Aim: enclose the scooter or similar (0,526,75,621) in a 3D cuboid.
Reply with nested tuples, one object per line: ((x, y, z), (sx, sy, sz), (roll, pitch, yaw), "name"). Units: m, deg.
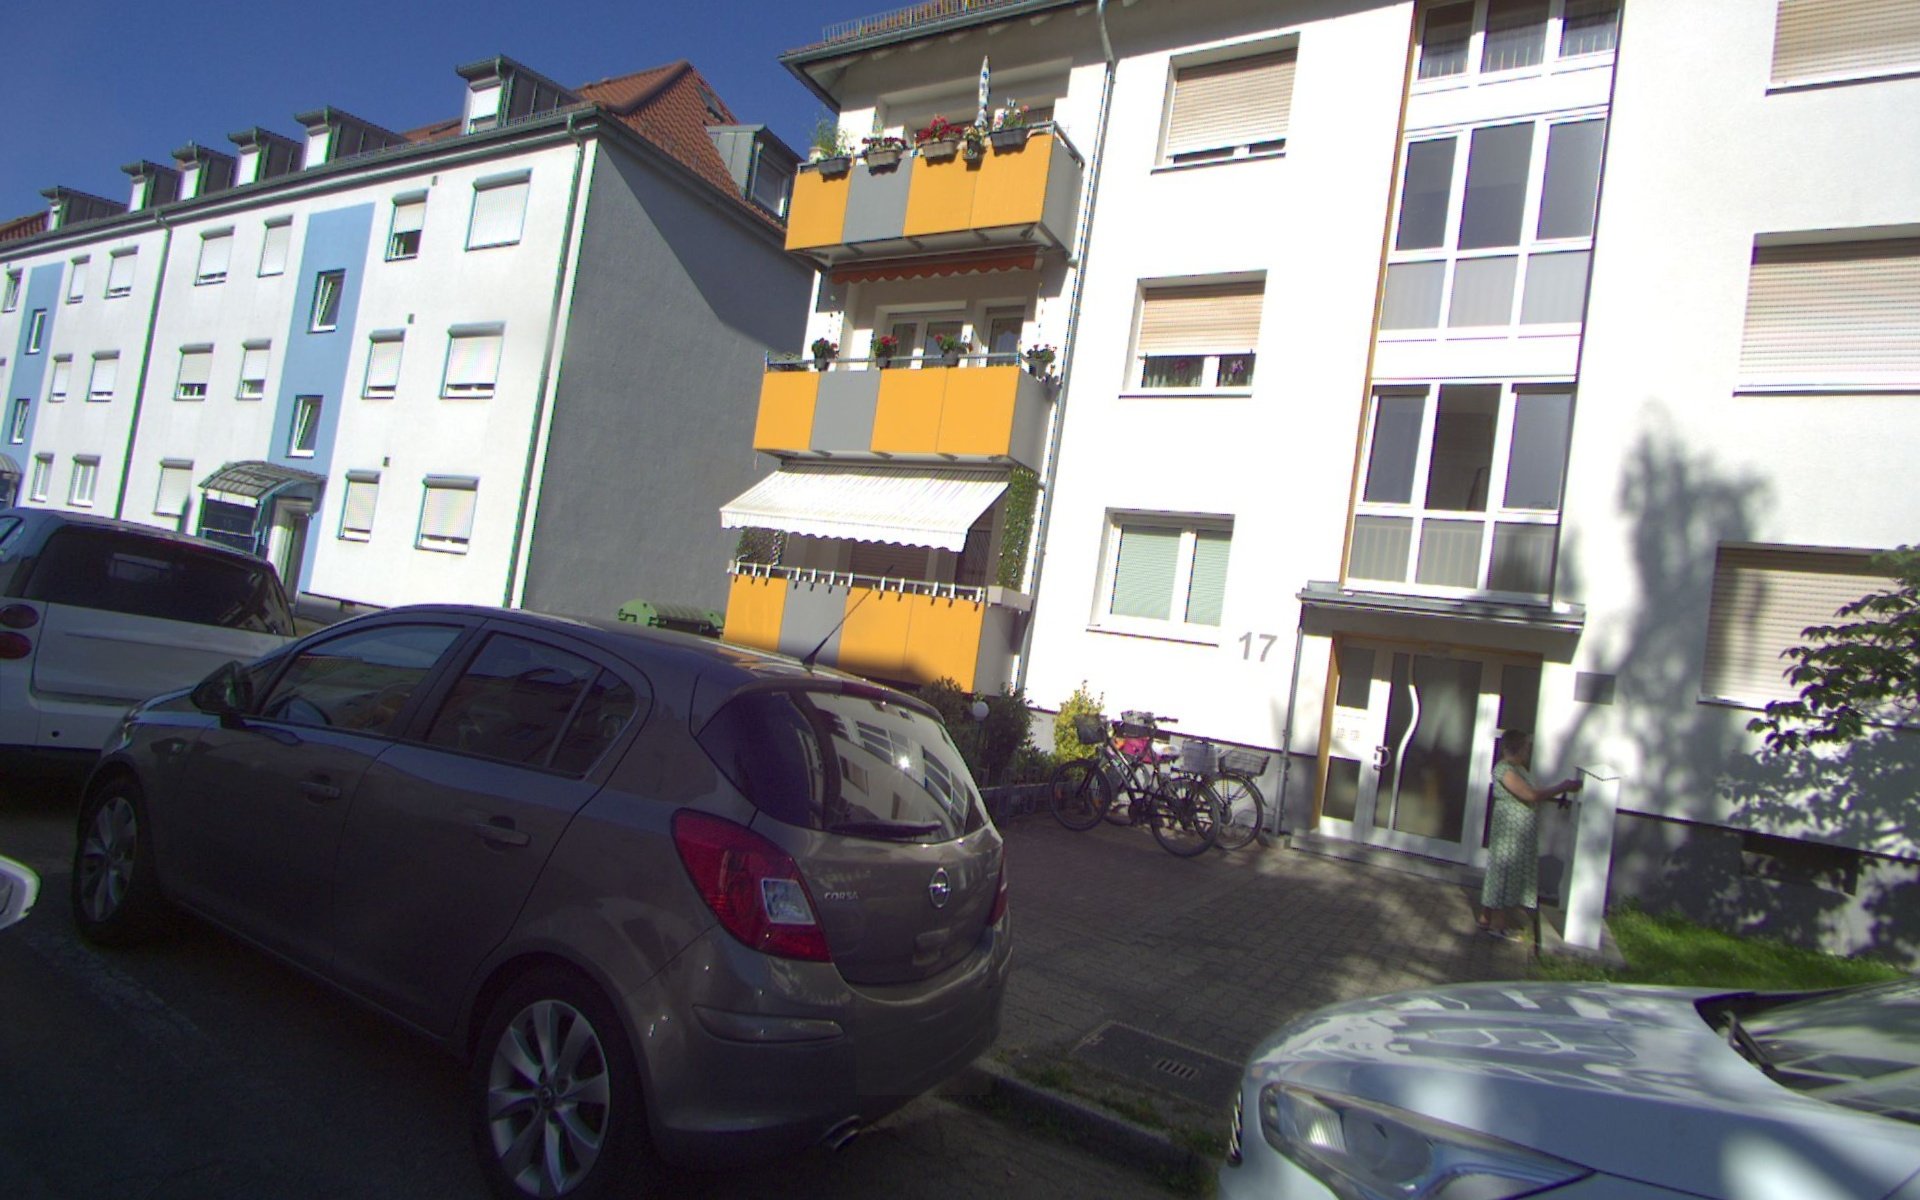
((-12.993, -0.384, 14.021), (1.562, 1.163, 0.484), (7, 1, 32), "scooter or similar")

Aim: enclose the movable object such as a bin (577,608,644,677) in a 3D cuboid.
((-5.858, 0.712, 16.852), (0.745, 1.046, 0.644), (5, -2, 32), "movable object such as a bin")

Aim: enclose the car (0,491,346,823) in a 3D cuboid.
((-5.308, 0.248, 6.090), (2.894, 1.544, 1.484), (7, -5, 35), "car")

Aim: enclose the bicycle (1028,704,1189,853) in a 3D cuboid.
((1.349, 1.602, 9.231), (1.278, 1.099, 0.404), (7, -1, 32), "bicycle")

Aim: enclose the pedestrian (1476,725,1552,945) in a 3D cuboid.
((4.104, 1.706, 7.442), (0.354, 1.511, 0.451), (5, -2, 32), "pedestrian")

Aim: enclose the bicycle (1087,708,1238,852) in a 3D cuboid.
((1.980, 1.739, 9.893), (1.252, 1.145, 0.404), (7, -2, 32), "bicycle")

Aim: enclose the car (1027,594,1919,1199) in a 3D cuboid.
((2.708, 1.198, 1.204), (4.914, 1.629, 2.000), (7, -5, 33), "car")

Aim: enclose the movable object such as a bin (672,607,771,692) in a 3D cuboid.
((-4.469, 0.937, 18.909), (1.038, 1.428, 1.346), (5, -2, 31), "movable object such as a bin")

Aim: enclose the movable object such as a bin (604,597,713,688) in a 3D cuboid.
((-5.277, 0.758, 17.667), (1.088, 1.423, 1.330), (5, -2, 31), "movable object such as a bin")

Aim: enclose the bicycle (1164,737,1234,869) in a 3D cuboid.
((2.088, 1.737, 8.744), (0.235, 1.059, 0.741), (7, -1, 33), "bicycle")

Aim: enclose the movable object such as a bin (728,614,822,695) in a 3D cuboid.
((-3.709, 1.106, 20.203), (1.124, 1.442, 1.345), (5, -2, 31), "movable object such as a bin")

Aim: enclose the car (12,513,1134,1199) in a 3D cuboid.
((-1.580, 0.731, 3.802), (3.917, 1.506, 1.700), (7, -5, 30), "car")
